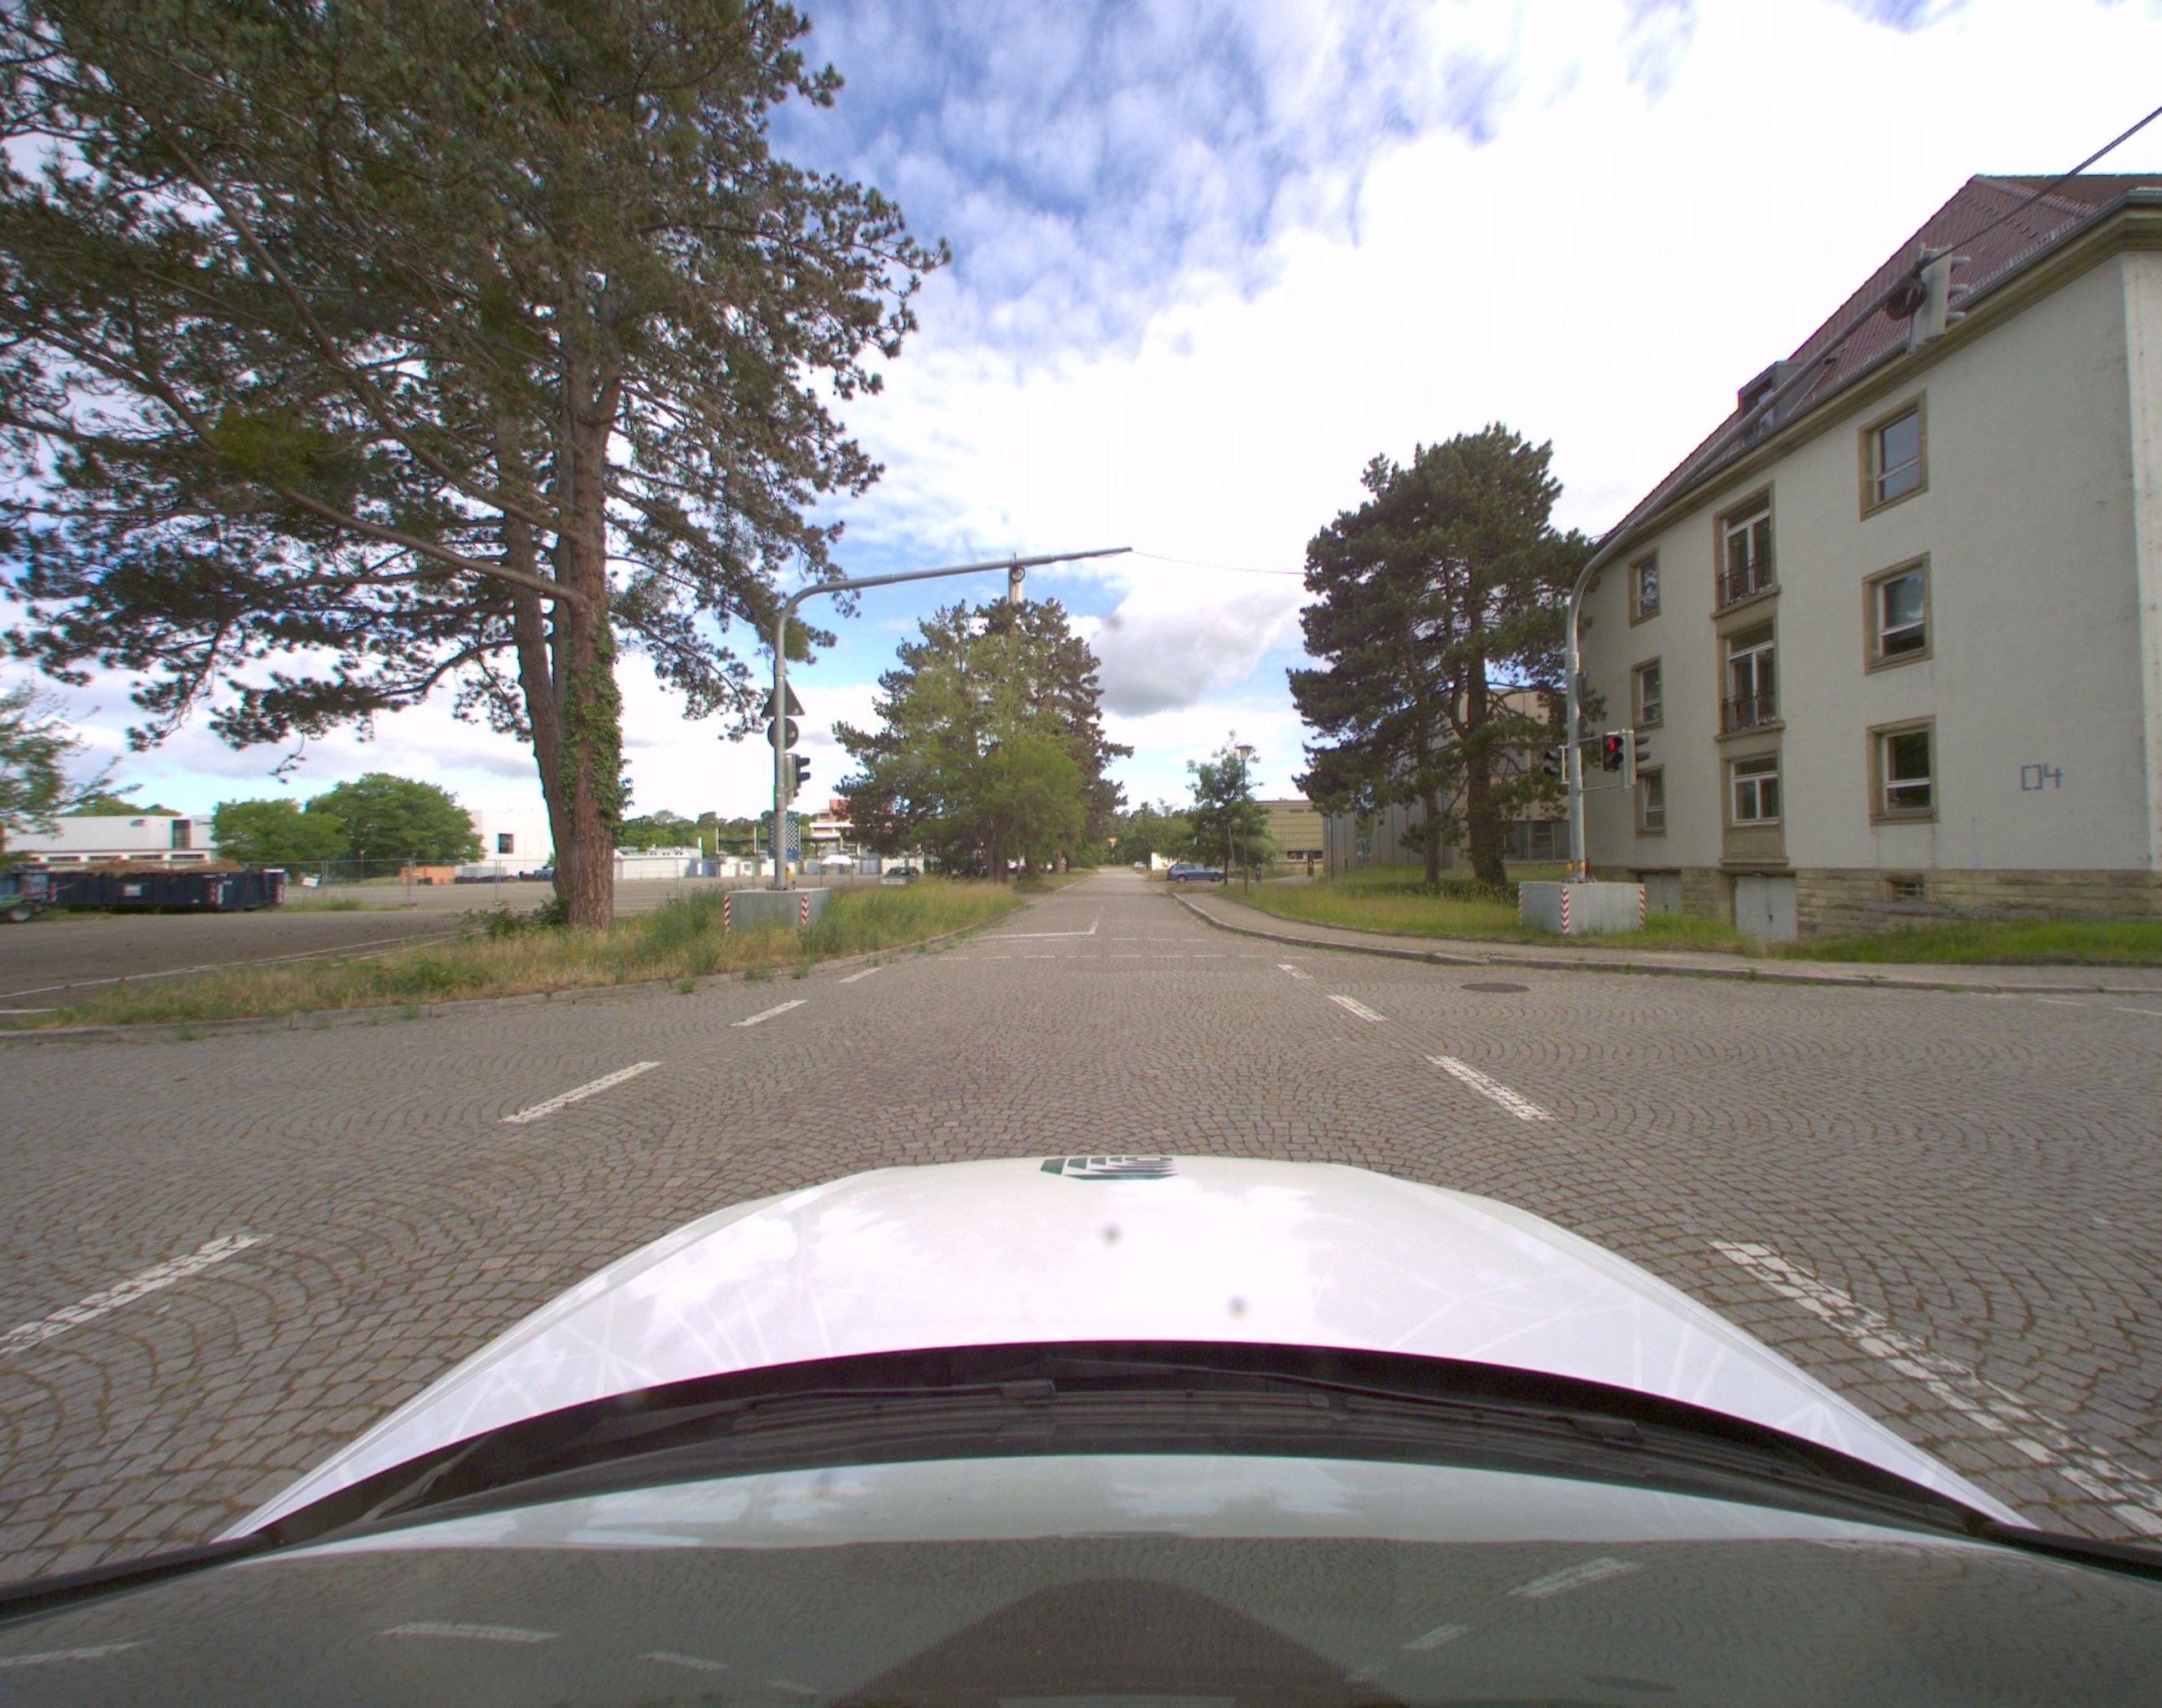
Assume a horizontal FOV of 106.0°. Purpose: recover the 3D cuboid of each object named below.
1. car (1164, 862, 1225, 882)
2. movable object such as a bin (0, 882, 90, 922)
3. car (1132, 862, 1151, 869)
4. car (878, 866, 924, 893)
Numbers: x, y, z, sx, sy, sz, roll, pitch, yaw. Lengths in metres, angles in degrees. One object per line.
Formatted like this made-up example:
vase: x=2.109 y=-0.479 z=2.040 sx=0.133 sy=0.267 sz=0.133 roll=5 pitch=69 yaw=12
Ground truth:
car: x=8.598 y=1.351 z=61.822 sx=4.329 sy=1.422 sz=2.000 roll=-1 pitch=-1 yaw=0
movable object such as a bin: x=-30.616 y=1.378 z=23.365 sx=1.175 sy=1.048 sz=2.656 roll=-1 pitch=-1 yaw=-2
car: x=13.366 y=2.568 z=178.866 sx=3.978 sy=1.398 sz=1.998 roll=-1 pitch=-1 yaw=-4
car: x=-10.495 y=1.477 z=47.713 sx=1.606 sy=1.487 sz=4.003 roll=-1 pitch=-1 yaw=3
